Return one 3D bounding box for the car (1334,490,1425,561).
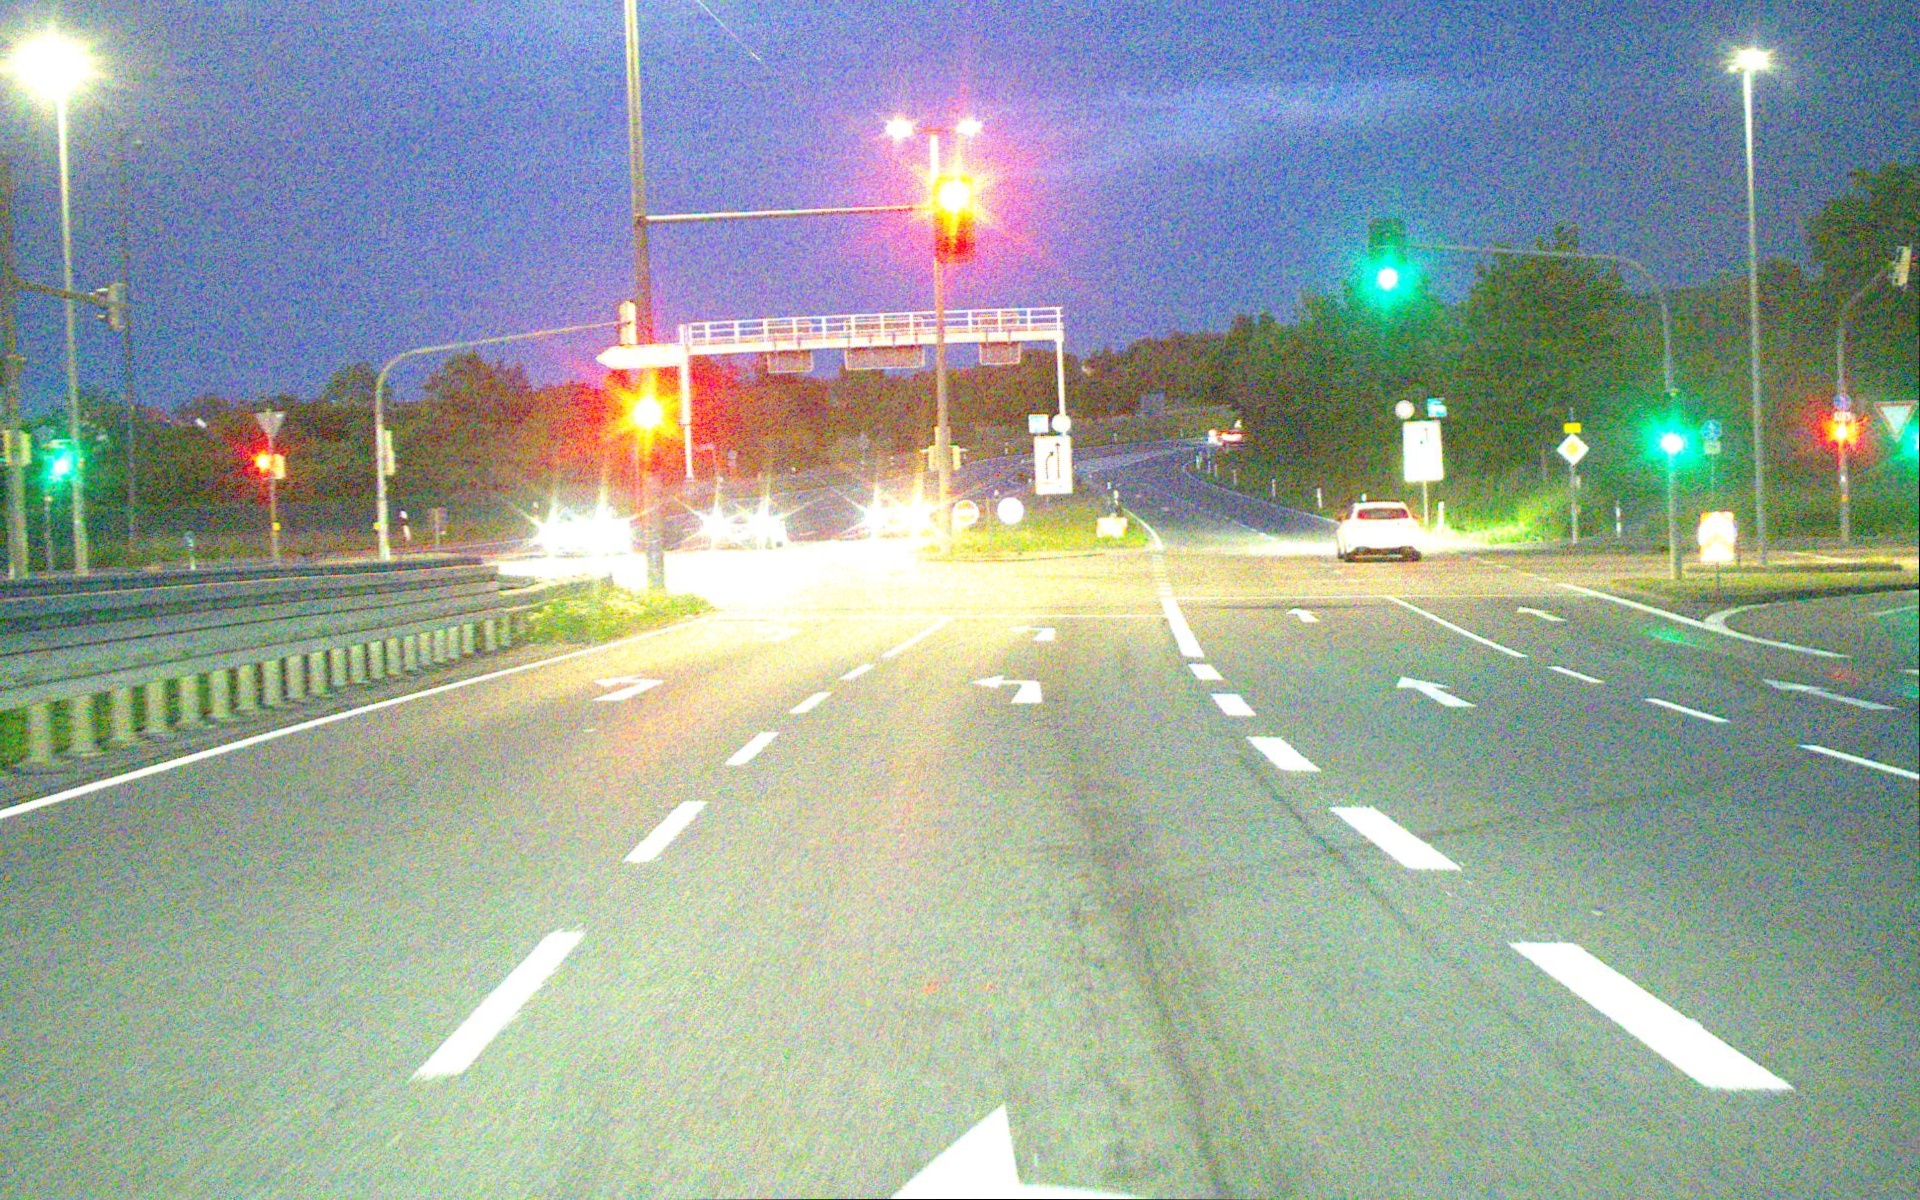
[{"bbox_3d":[9.947,-1.786,81.754,2.008,1.605,3.845,1,2,5],"label":"car"}]

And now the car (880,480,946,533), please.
[{"bbox_3d":[-1.574,-3.177,116.568,1.993,1.692,4.000,-1,3,2],"label":"car"}]

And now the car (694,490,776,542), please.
[{"bbox_3d":[-6.766,-2.556,103.899,1.993,1.476,4.682,-1,2,2],"label":"car"}]

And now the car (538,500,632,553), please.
[{"bbox_3d":[-10.533,-2.097,96.914,1.993,1.420,4.532,-1,2,2],"label":"car"}]
